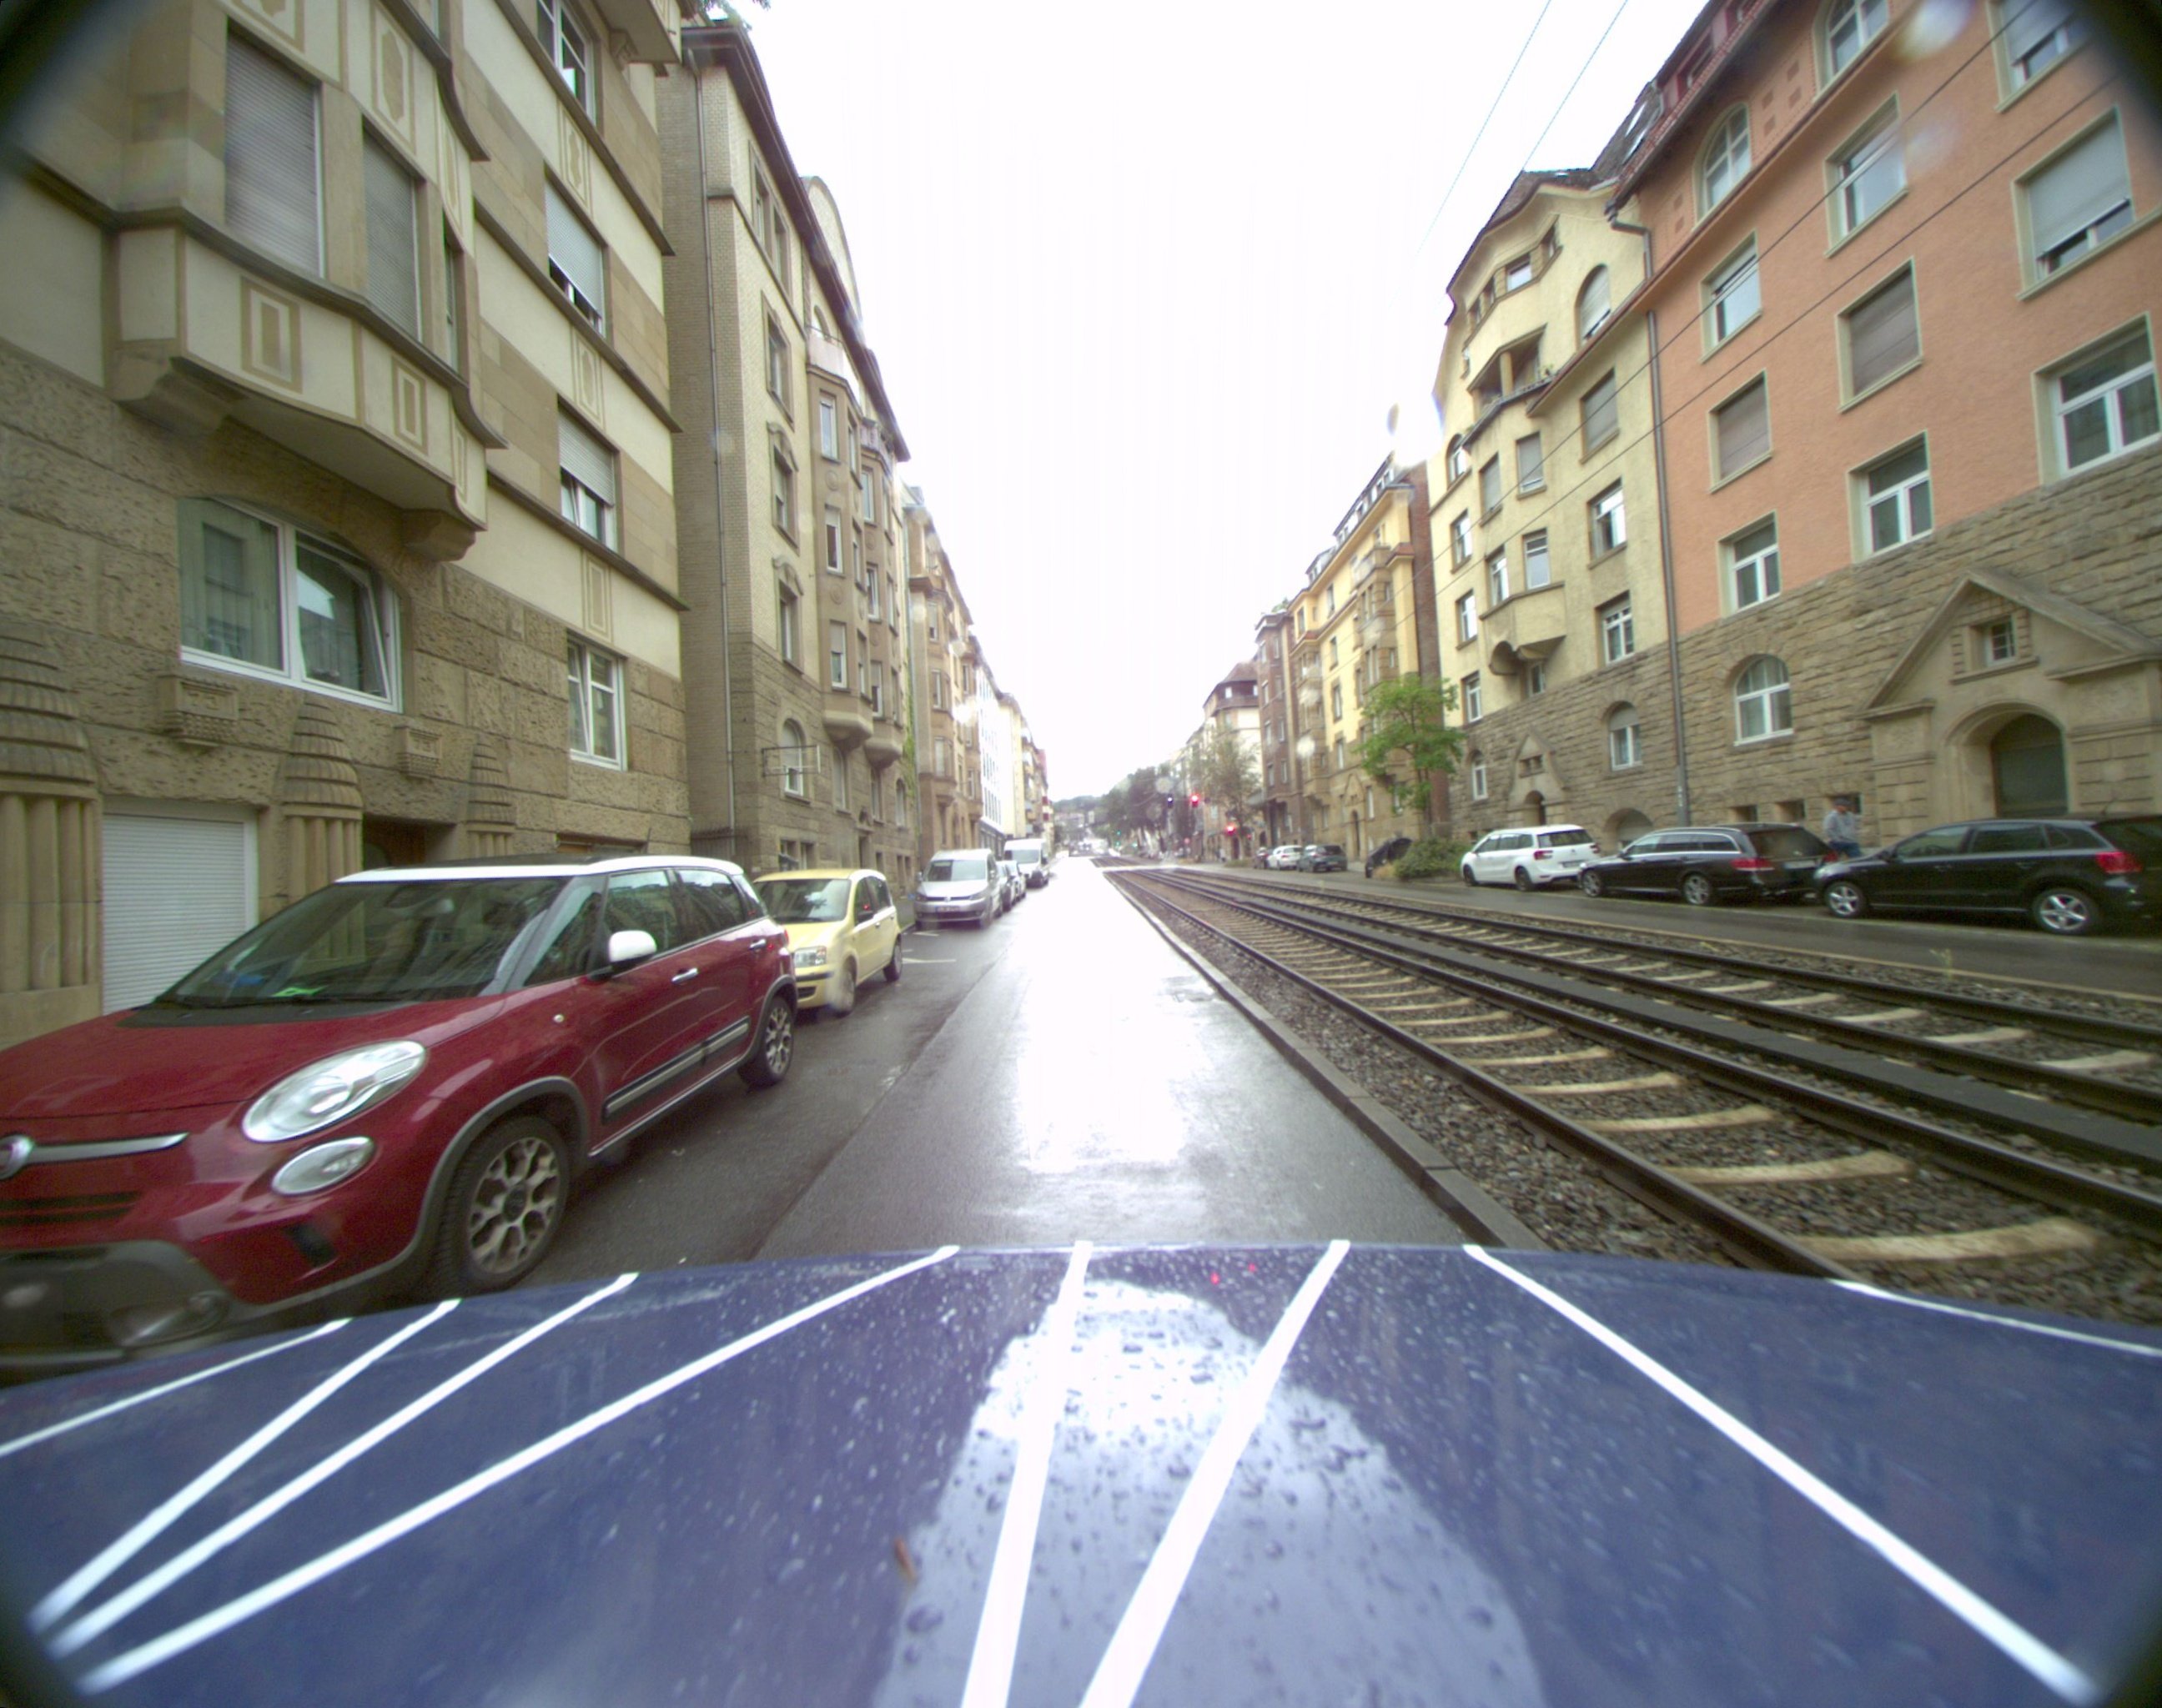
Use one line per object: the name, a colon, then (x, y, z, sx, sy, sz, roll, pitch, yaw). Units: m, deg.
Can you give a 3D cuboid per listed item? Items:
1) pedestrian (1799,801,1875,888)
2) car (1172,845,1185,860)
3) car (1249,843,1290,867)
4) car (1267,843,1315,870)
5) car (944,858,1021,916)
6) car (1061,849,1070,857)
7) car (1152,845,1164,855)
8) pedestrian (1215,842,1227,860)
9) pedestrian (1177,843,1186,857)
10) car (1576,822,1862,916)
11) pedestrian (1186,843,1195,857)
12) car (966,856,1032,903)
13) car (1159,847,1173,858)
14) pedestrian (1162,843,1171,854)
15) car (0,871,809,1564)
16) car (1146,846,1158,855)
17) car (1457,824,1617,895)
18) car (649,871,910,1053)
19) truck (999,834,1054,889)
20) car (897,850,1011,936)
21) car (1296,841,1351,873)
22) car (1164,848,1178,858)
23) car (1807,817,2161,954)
pedestrian: (14.735, -0.191, 14.830, 0.701, 1.633, 0.765, -2, 1, 1)
car: (12.668, -0.237, 99.320, 1.583, 1.669, 3.790, -3, 2, 7)
car: (12.482, 0.066, 50.523, 1.771, 1.433, 3.845, -3, 0, 1)
car: (12.473, 0.118, 45.428, 1.771, 1.433, 4.031, -3, 0, 2)
car: (-2.961, 0.939, 23.590, 1.999, 1.521, 3.999, -3, 0, -3)
car: (-4.013, -0.288, 194.405, 1.998, 1.838, 4.000, -3, 0, 1)
car: (12.832, -0.635, 126.611, 1.657, 1.589, 3.775, -3, 0, 1)
pedestrian: (15.514, -0.307, 84.271, 1.056, 1.946, 1.163, -3, 1, 2)
pedestrian: (14.548, -0.571, 109.731, 1.056, 1.946, 1.163, -3, 1, 2)
car: (12.295, 0.245, 15.159, 1.847, 1.486, 4.601, -3, 0, 1)
pedestrian: (15.836, -0.621, 109.720, 1.056, 1.946, 1.163, -3, 1, 2)
car: (-2.950, 0.882, 28.090, 1.891, 1.521, 3.929, -3, 0, 1)
car: (12.864, -0.278, 115.141, 1.771, 1.507, 3.845, -3, 0, 1)
pedestrian: (15.353, -1.004, 136.584, 1.380, 1.946, 1.379, -3, 1, 2)
car: (-3.028, 0.977, 3.866, 1.807, 1.590, 3.999, -3, 0, -1)
car: (12.428, -0.634, 133.479, 1.632, 1.537, 3.801, -3, 0, 1)
car: (12.276, 0.133, 20.822, 1.867, 1.646, 4.146, -3, 0, 1)
car: (-3.185, 1.041, 8.815, 1.580, 1.520, 3.578, -3, 0, -1)
truck: (-2.722, 0.344, 39.719, 2.235, 2.521, 6.143, -3, 0, 1)
car: (-3.006, 0.849, 18.973, 1.968, 1.792, 4.459, -3, 0, 1)
car: (12.506, 0.129, 39.389, 1.678, 1.433, 3.845, -4, 1, 3)
car: (12.569, -0.091, 106.158, 1.583, 1.303, 3.845, -3, 0, 1)
car: (12.533, 0.312, 10.242, 1.935, 1.488, 3.642, -2, 1, -2)
